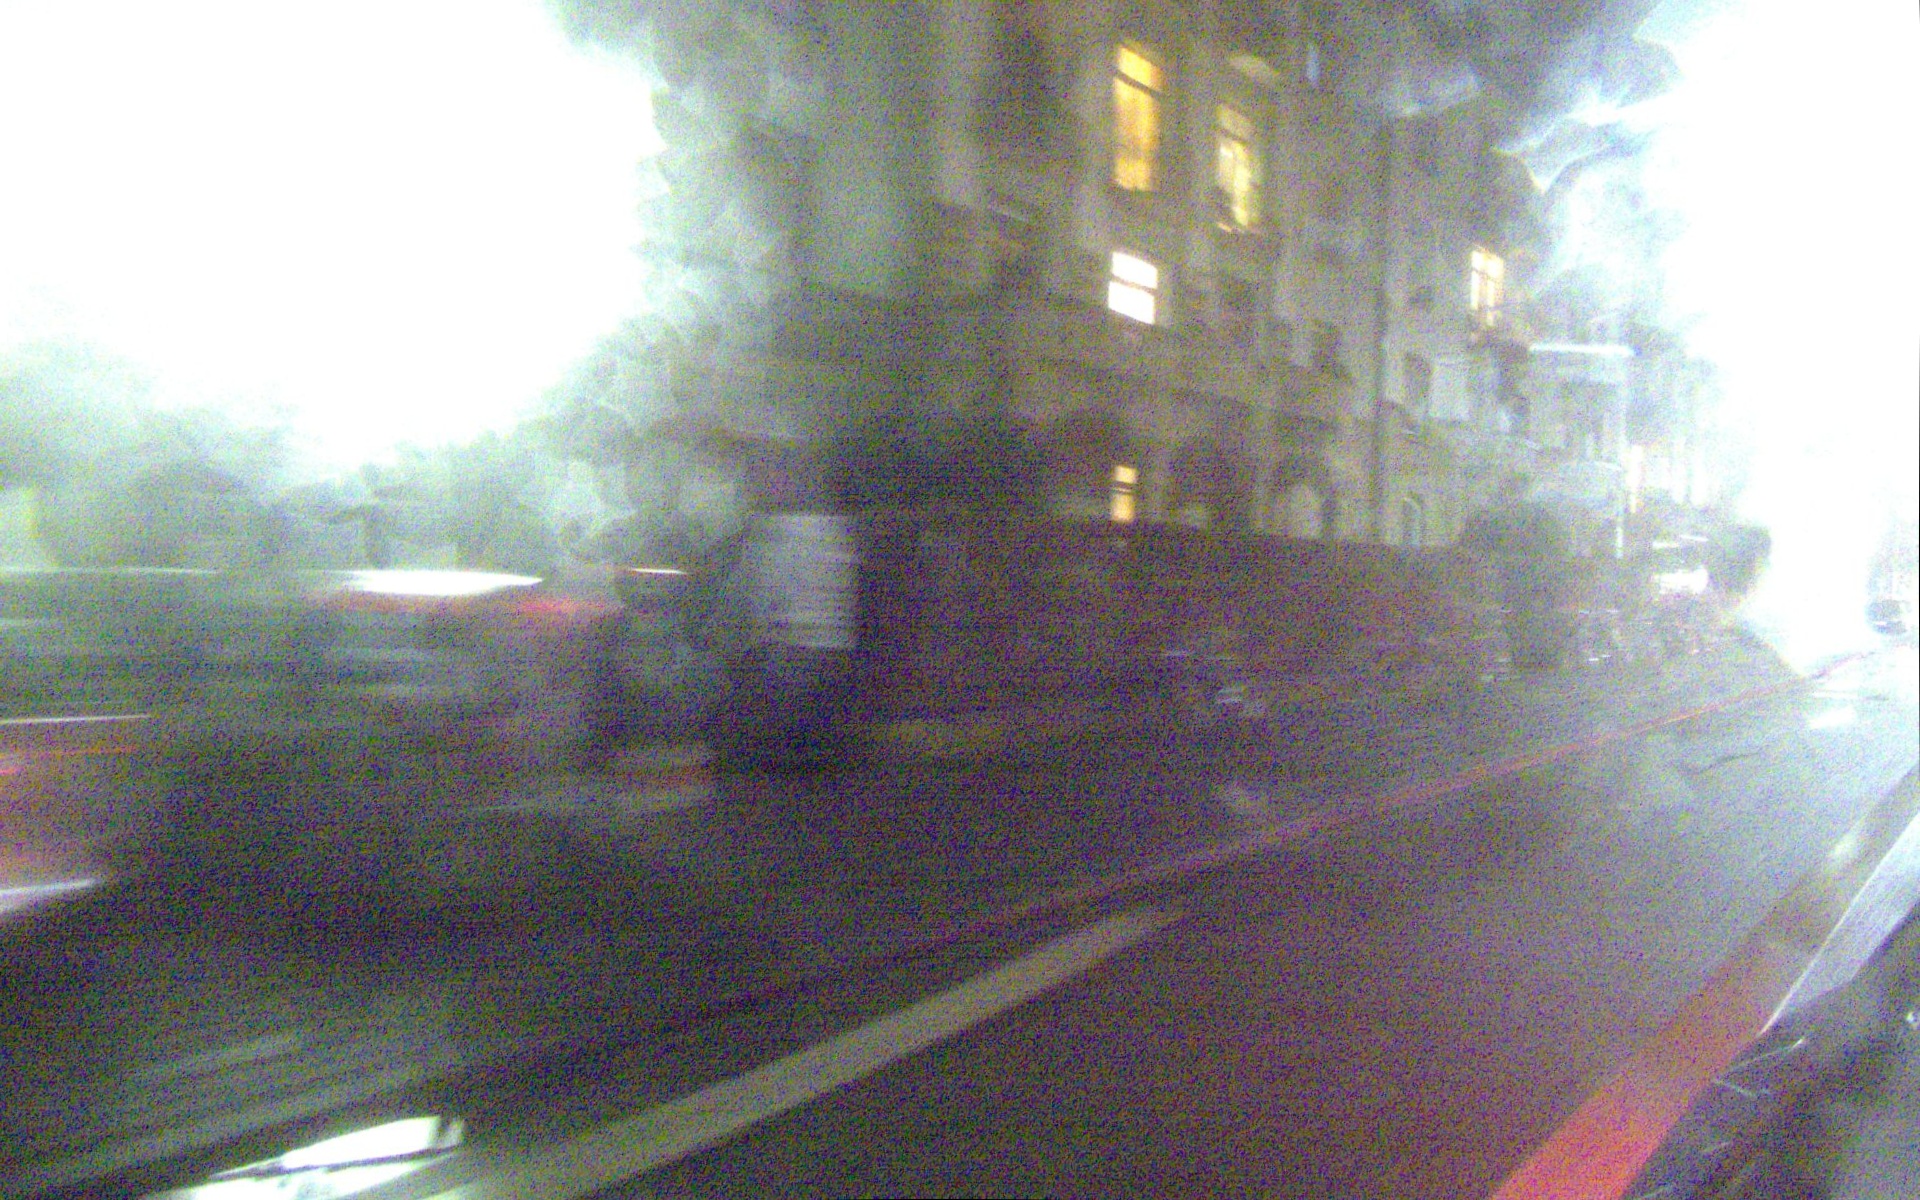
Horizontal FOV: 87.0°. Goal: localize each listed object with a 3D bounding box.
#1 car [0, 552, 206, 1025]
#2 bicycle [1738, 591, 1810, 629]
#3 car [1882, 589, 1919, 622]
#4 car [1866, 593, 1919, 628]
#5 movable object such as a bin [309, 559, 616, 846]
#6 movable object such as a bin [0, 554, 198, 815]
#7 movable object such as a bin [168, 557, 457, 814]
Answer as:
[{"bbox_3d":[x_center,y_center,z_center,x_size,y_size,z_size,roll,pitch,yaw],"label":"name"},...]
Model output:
[{"bbox_3d":[-4.863,0.606,3.272,3.725,1.476,1.767,-1,0,7],"label":"car"},{"bbox_3d":[27.982,0.329,34.821,0.484,1.177,1.817,-1,5,-43],"label":"bicycle"},{"bbox_3d":[48.912,0.275,52.259,1.649,1.542,3.523,7,6,44],"label":"car"},{"bbox_3d":[45.223,0.484,48.906,3.986,1.458,1.648,0,5,-43],"label":"car"},{"bbox_3d":[-2.844,0.490,5.823,1.340,1.424,1.016,1,1,29],"label":"movable object such as a bin"},{"bbox_3d":[-5.420,0.446,6.012,1.391,1.424,1.027,0,2,-36],"label":"movable object such as a bin"},{"bbox_3d":[-4.108,0.457,6.441,1.400,1.424,1.016,2,1,29],"label":"movable object such as a bin"}]
